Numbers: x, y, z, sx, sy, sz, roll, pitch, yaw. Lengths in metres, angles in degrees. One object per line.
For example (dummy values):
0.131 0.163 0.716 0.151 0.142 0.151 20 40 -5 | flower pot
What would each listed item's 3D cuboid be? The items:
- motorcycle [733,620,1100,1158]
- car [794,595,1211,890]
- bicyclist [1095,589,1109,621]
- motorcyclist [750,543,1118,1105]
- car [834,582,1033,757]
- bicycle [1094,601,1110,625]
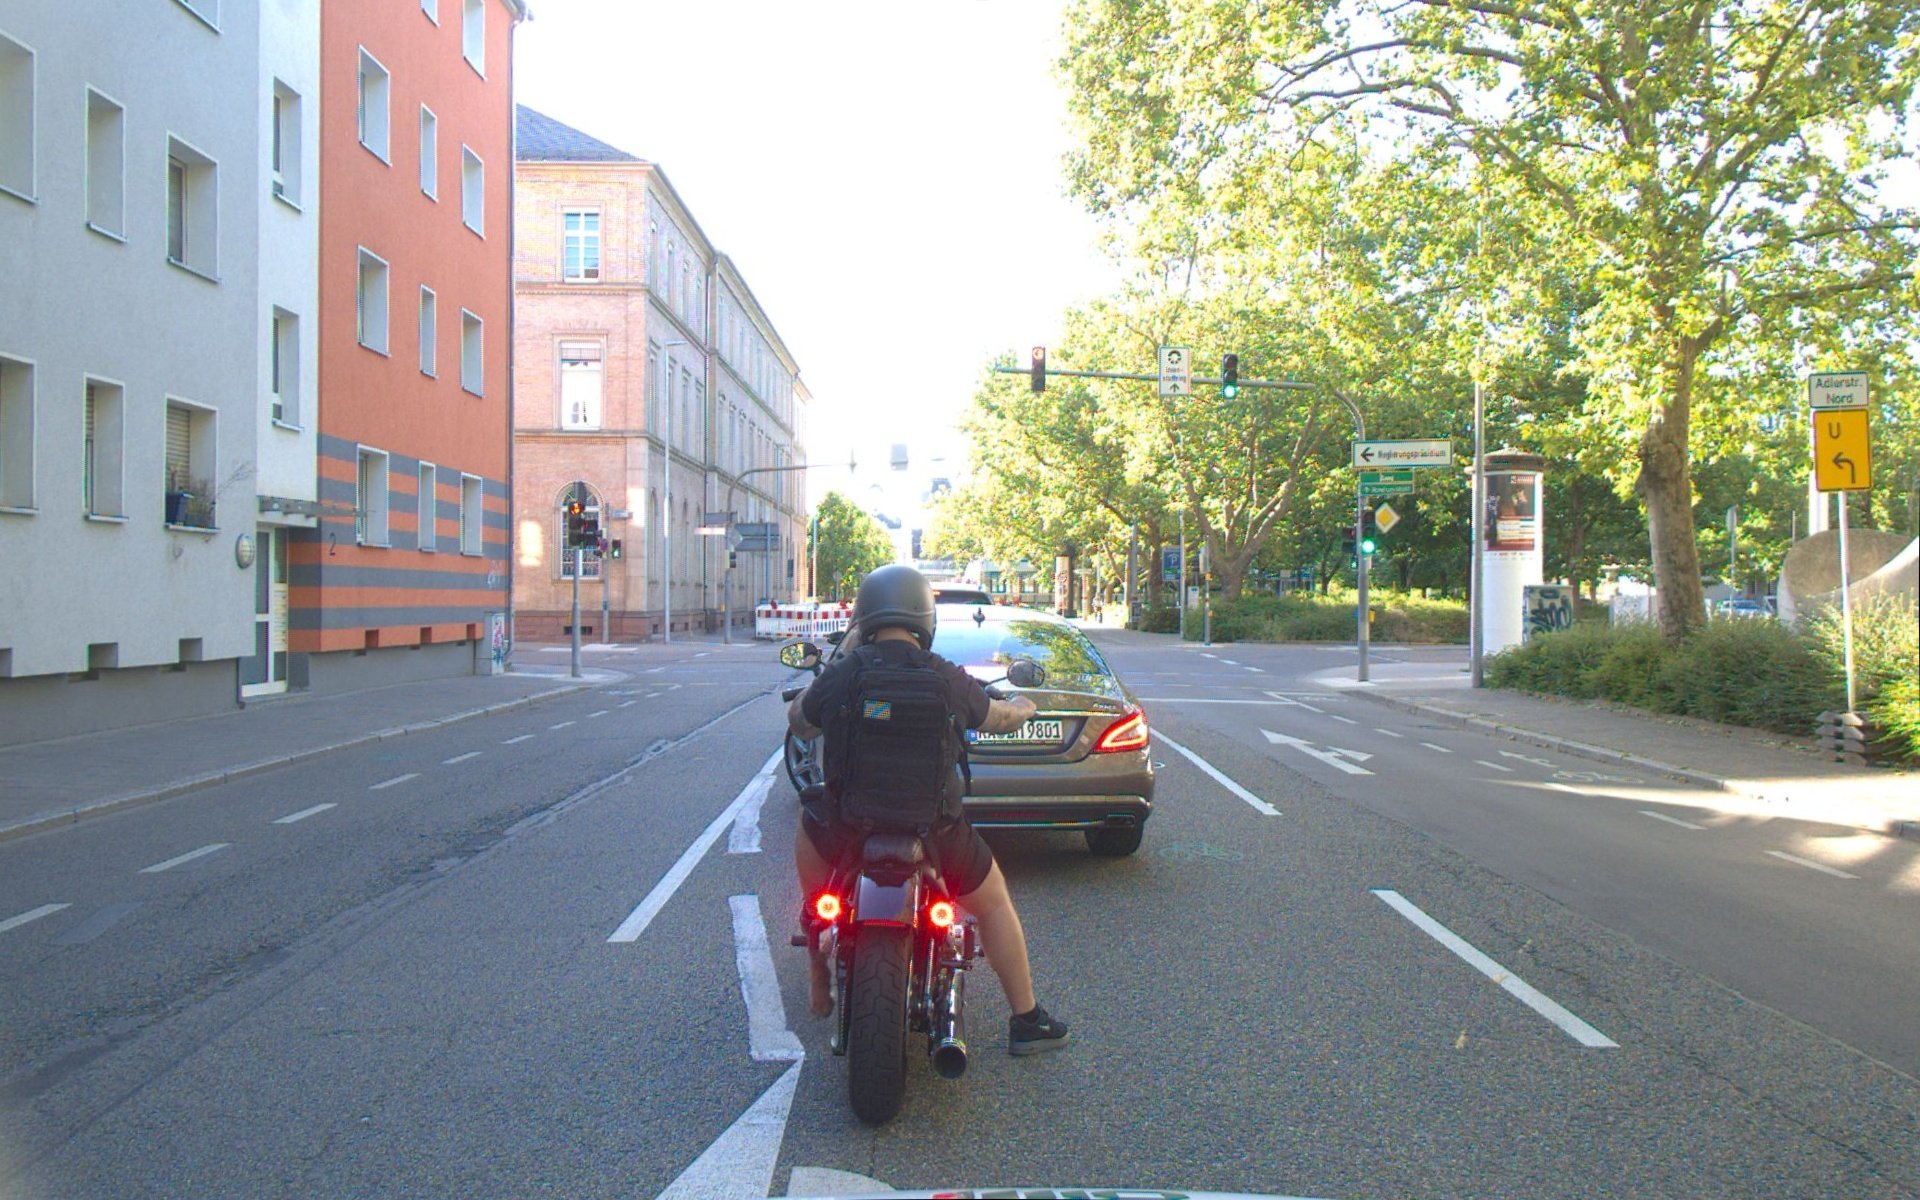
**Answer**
-0.129 0.776 5.511 0.942 1.380 2.319 1 0 -1 | motorcycle
0.028 0.704 10.538 1.867 1.466 4.278 0 0 -10 | car
7.258 0.251 84.557 0.701 1.610 0.936 1 0 2 | bicyclist
-0.079 0.651 5.242 1.039 1.610 0.908 1 0 -1 | motorcyclist
-0.343 0.610 16.741 1.777 1.563 3.846 0 0 -3 | car
7.241 0.641 84.528 0.701 1.193 2.177 1 0 3 | bicycle
